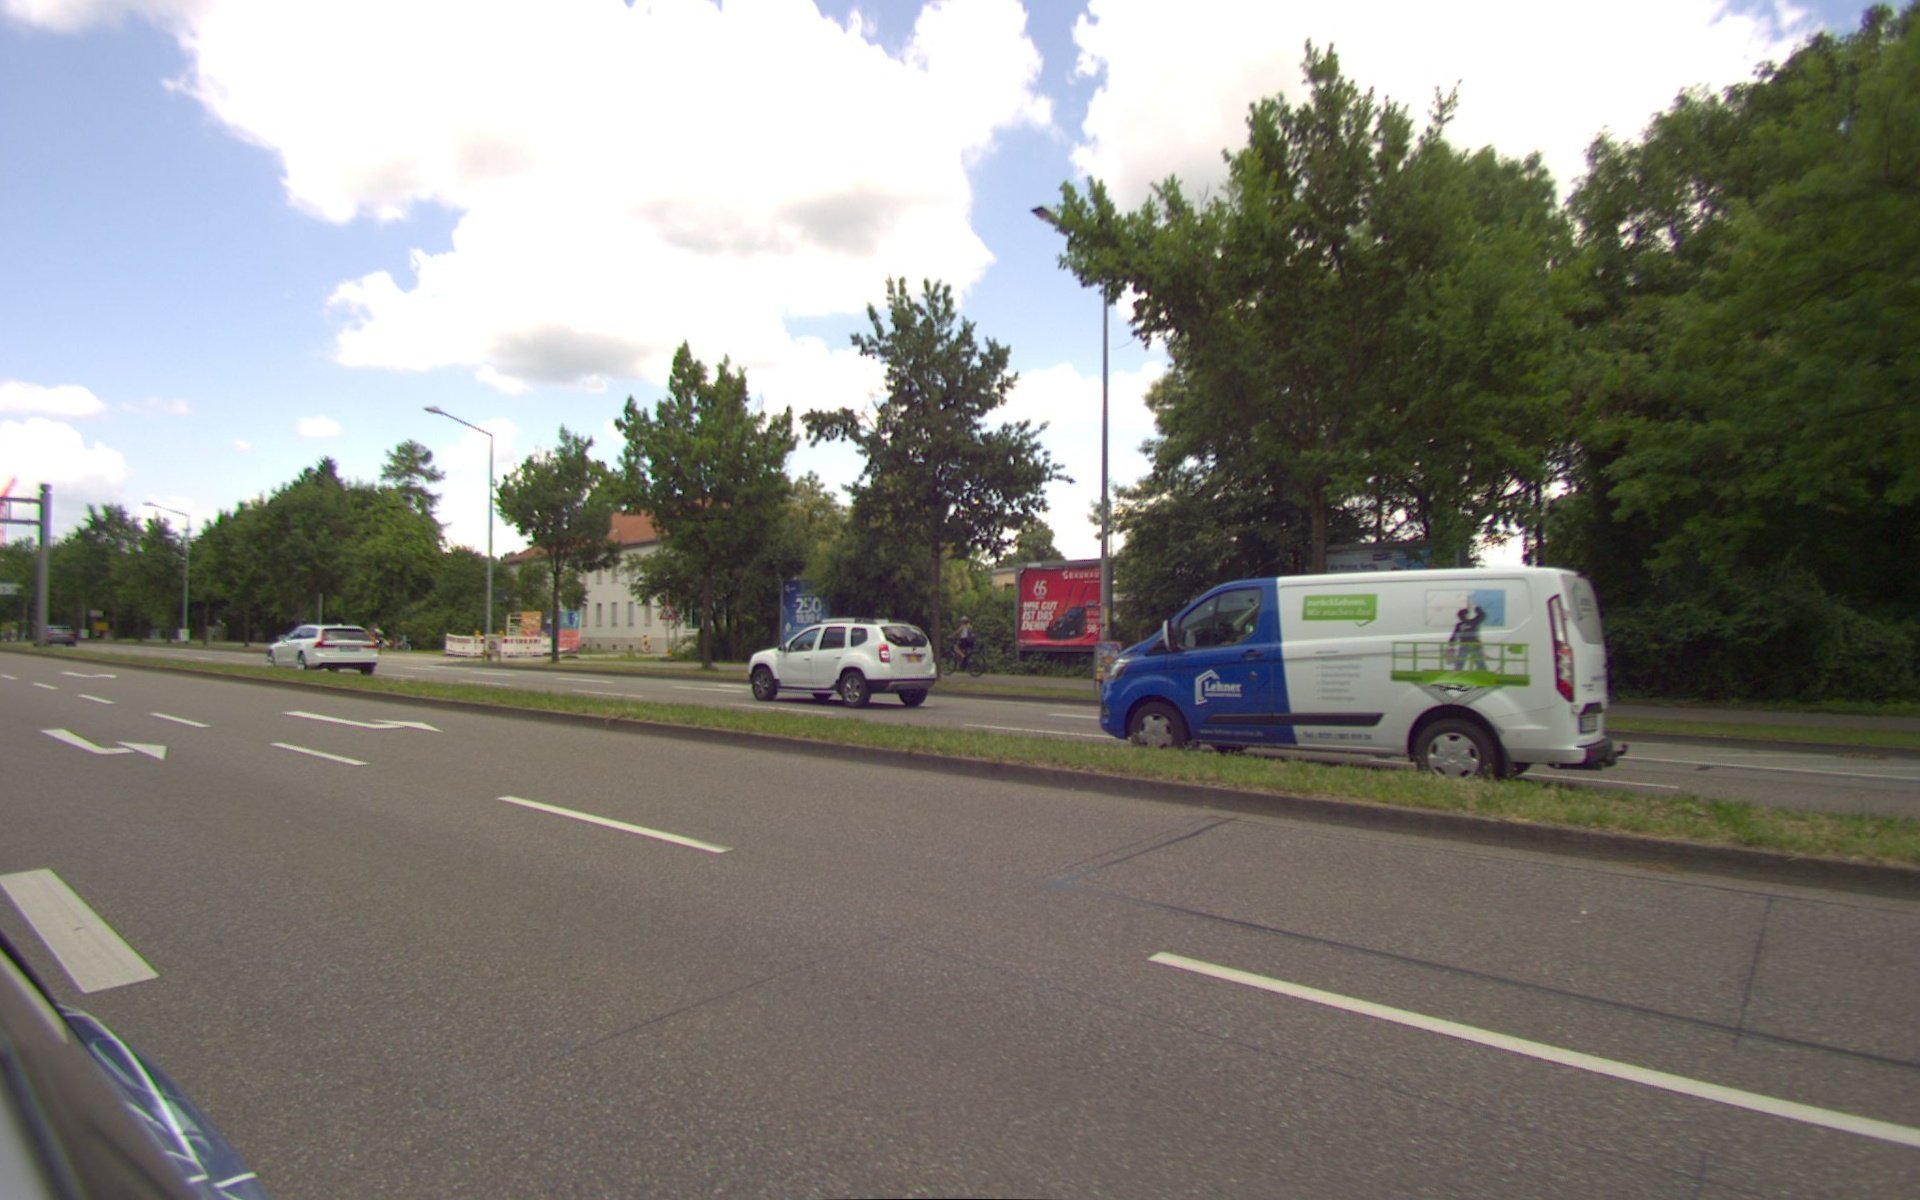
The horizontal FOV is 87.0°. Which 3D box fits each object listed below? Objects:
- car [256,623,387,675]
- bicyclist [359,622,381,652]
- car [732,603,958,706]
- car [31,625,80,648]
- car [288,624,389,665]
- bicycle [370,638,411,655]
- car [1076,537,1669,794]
[{"bbox_3d":[-19.171,1.426,30.294,5.021,1.442,1.973,-2,-3,41],"label":"car"},{"bbox_3d":[-33.376,2.117,57.220,0.979,1.671,0.731,-2,-3,36],"label":"bicyclist"},{"bbox_3d":[-2.340,1.044,20.055,4.405,1.815,1.973,-2,-3,40],"label":"car"},{"bbox_3d":[-63.910,2.566,71.469,4.906,1.528,1.939,-2,-3,40],"label":"car"},{"bbox_3d":[-23.528,1.680,38.254,4.411,1.454,1.895,-2,-4,40],"label":"car"},{"bbox_3d":[-35.915,2.943,63.851,2.117,1.023,0.665,1,-2,-4],"label":"bicycle"},{"bbox_3d":[3.948,0.591,10.302,5.188,1.979,2.168,-2,-3,40],"label":"car"}]
